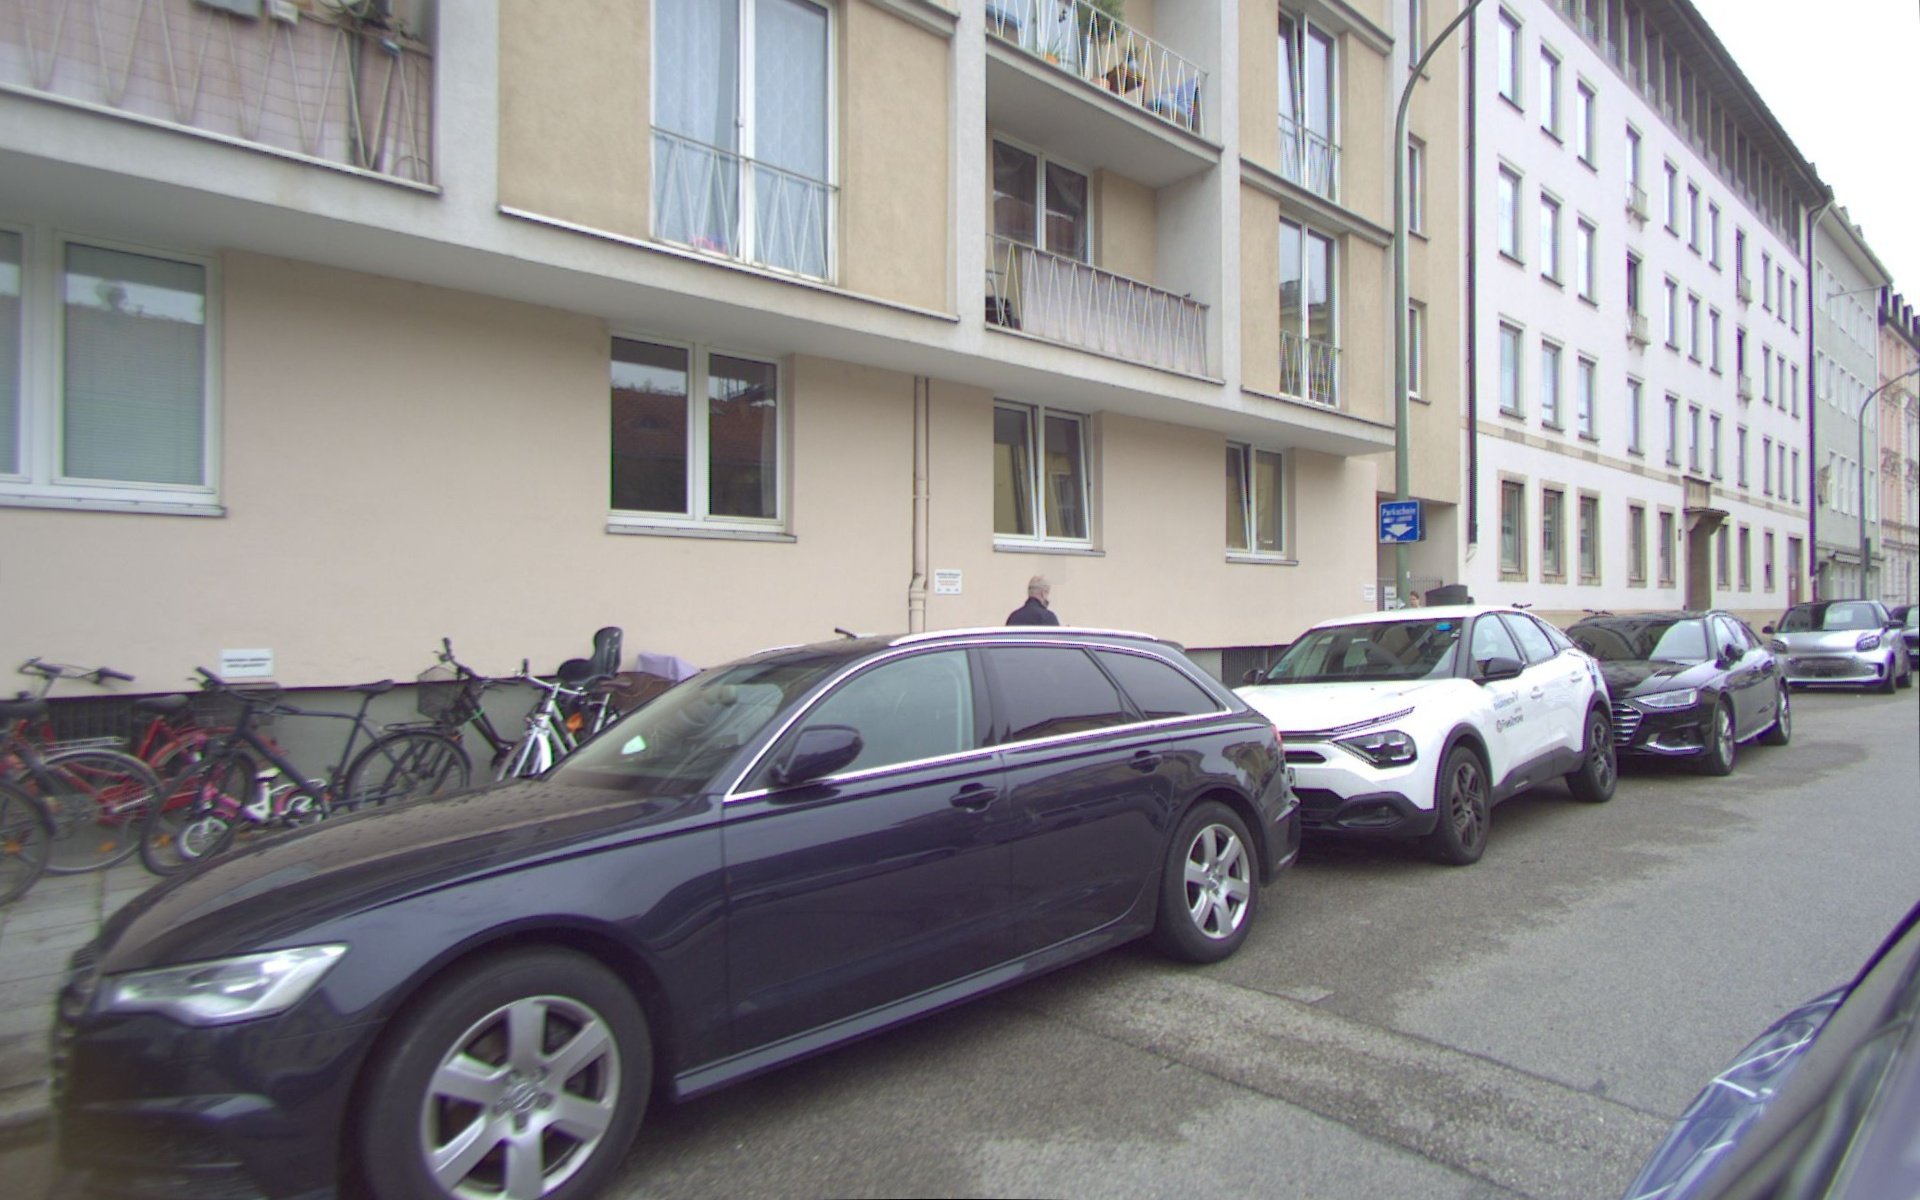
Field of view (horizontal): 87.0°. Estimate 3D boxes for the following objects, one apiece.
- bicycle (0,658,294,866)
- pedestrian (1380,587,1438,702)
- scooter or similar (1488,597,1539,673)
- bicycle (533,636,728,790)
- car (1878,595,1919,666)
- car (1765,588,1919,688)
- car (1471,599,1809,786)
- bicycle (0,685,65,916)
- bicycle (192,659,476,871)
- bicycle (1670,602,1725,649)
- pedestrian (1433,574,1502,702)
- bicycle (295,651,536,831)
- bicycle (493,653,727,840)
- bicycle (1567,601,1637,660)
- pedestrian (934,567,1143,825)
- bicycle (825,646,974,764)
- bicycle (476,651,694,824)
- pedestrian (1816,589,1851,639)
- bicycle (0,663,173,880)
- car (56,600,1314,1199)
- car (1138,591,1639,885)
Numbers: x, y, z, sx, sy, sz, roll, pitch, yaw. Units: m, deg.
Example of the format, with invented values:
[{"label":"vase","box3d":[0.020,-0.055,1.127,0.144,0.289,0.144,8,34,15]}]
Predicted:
[{"label":"bicycle","box3d":[-4.769,0.898,5.958,1.376,1.036,0.390,0,1,-41]},{"label":"pedestrian","box3d":[6.508,0.626,14.676,0.550,1.604,0.532,0,2,-40]},{"label":"scooter or similar","box3d":[10.134,0.622,18.517,0.598,1.267,1.024,2,4,41]},{"label":"bicycle","box3d":[-2.502,0.822,7.765,1.376,1.036,0.390,0,1,-41]},{"label":"car","box3d":[22.939,0.660,23.505,4.733,1.564,1.858,0,-2,-42]},{"label":"car","box3d":[15.541,0.639,17.561,3.812,1.555,1.674,0,-3,-40]},{"label":"car","box3d":[6.944,0.725,10.133,4.406,1.438,1.798,-1,0,-42]},{"label":"bicycle","box3d":[-4.973,0.966,4.644,1.278,1.036,0.424,0,1,-41]},{"label":"bicycle","box3d":[-3.640,0.910,5.952,1.376,1.036,0.390,0,1,-41]},{"label":"bicycle","box3d":[18.845,0.625,25.848,1.992,1.140,0.660,0,1,-40]},{"label":"pedestrian","box3d":[6.897,0.501,13.758,0.619,1.674,0.598,0,2,-40]},{"label":"bicycle","box3d":[-3.638,0.897,6.821,1.376,1.036,0.390,0,1,-41]},{"label":"bicycle","box3d":[-2.277,0.911,6.677,1.376,1.036,0.484,0,1,-41]},{"label":"bicycle","box3d":[13.477,0.615,21.230,1.992,1.178,0.660,0,1,-40]},{"label":"pedestrian","box3d":[0.591,0.626,7.485,1.297,1.709,0.899,0,0,-42]},{"label":"bicycle","box3d":[-0.538,0.935,9.343,1.376,0.947,0.445,0,1,-41]},{"label":"bicycle","box3d":[-2.592,0.909,7.079,1.376,1.036,0.390,0,1,-41]},{"label":"pedestrian","box3d":[29.188,0.461,33.804,0.813,1.646,0.736,1,1,-39]},{"label":"bicycle","box3d":[-4.966,0.890,5.252,1.376,1.036,0.390,0,1,-41]},{"label":"car","box3d":[-0.576,0.781,4.017,4.415,1.518,1.742,0,0,-40]},{"label":"car","box3d":[3.265,0.700,7.290,4.147,1.518,1.741,-1,0,-42]}]
